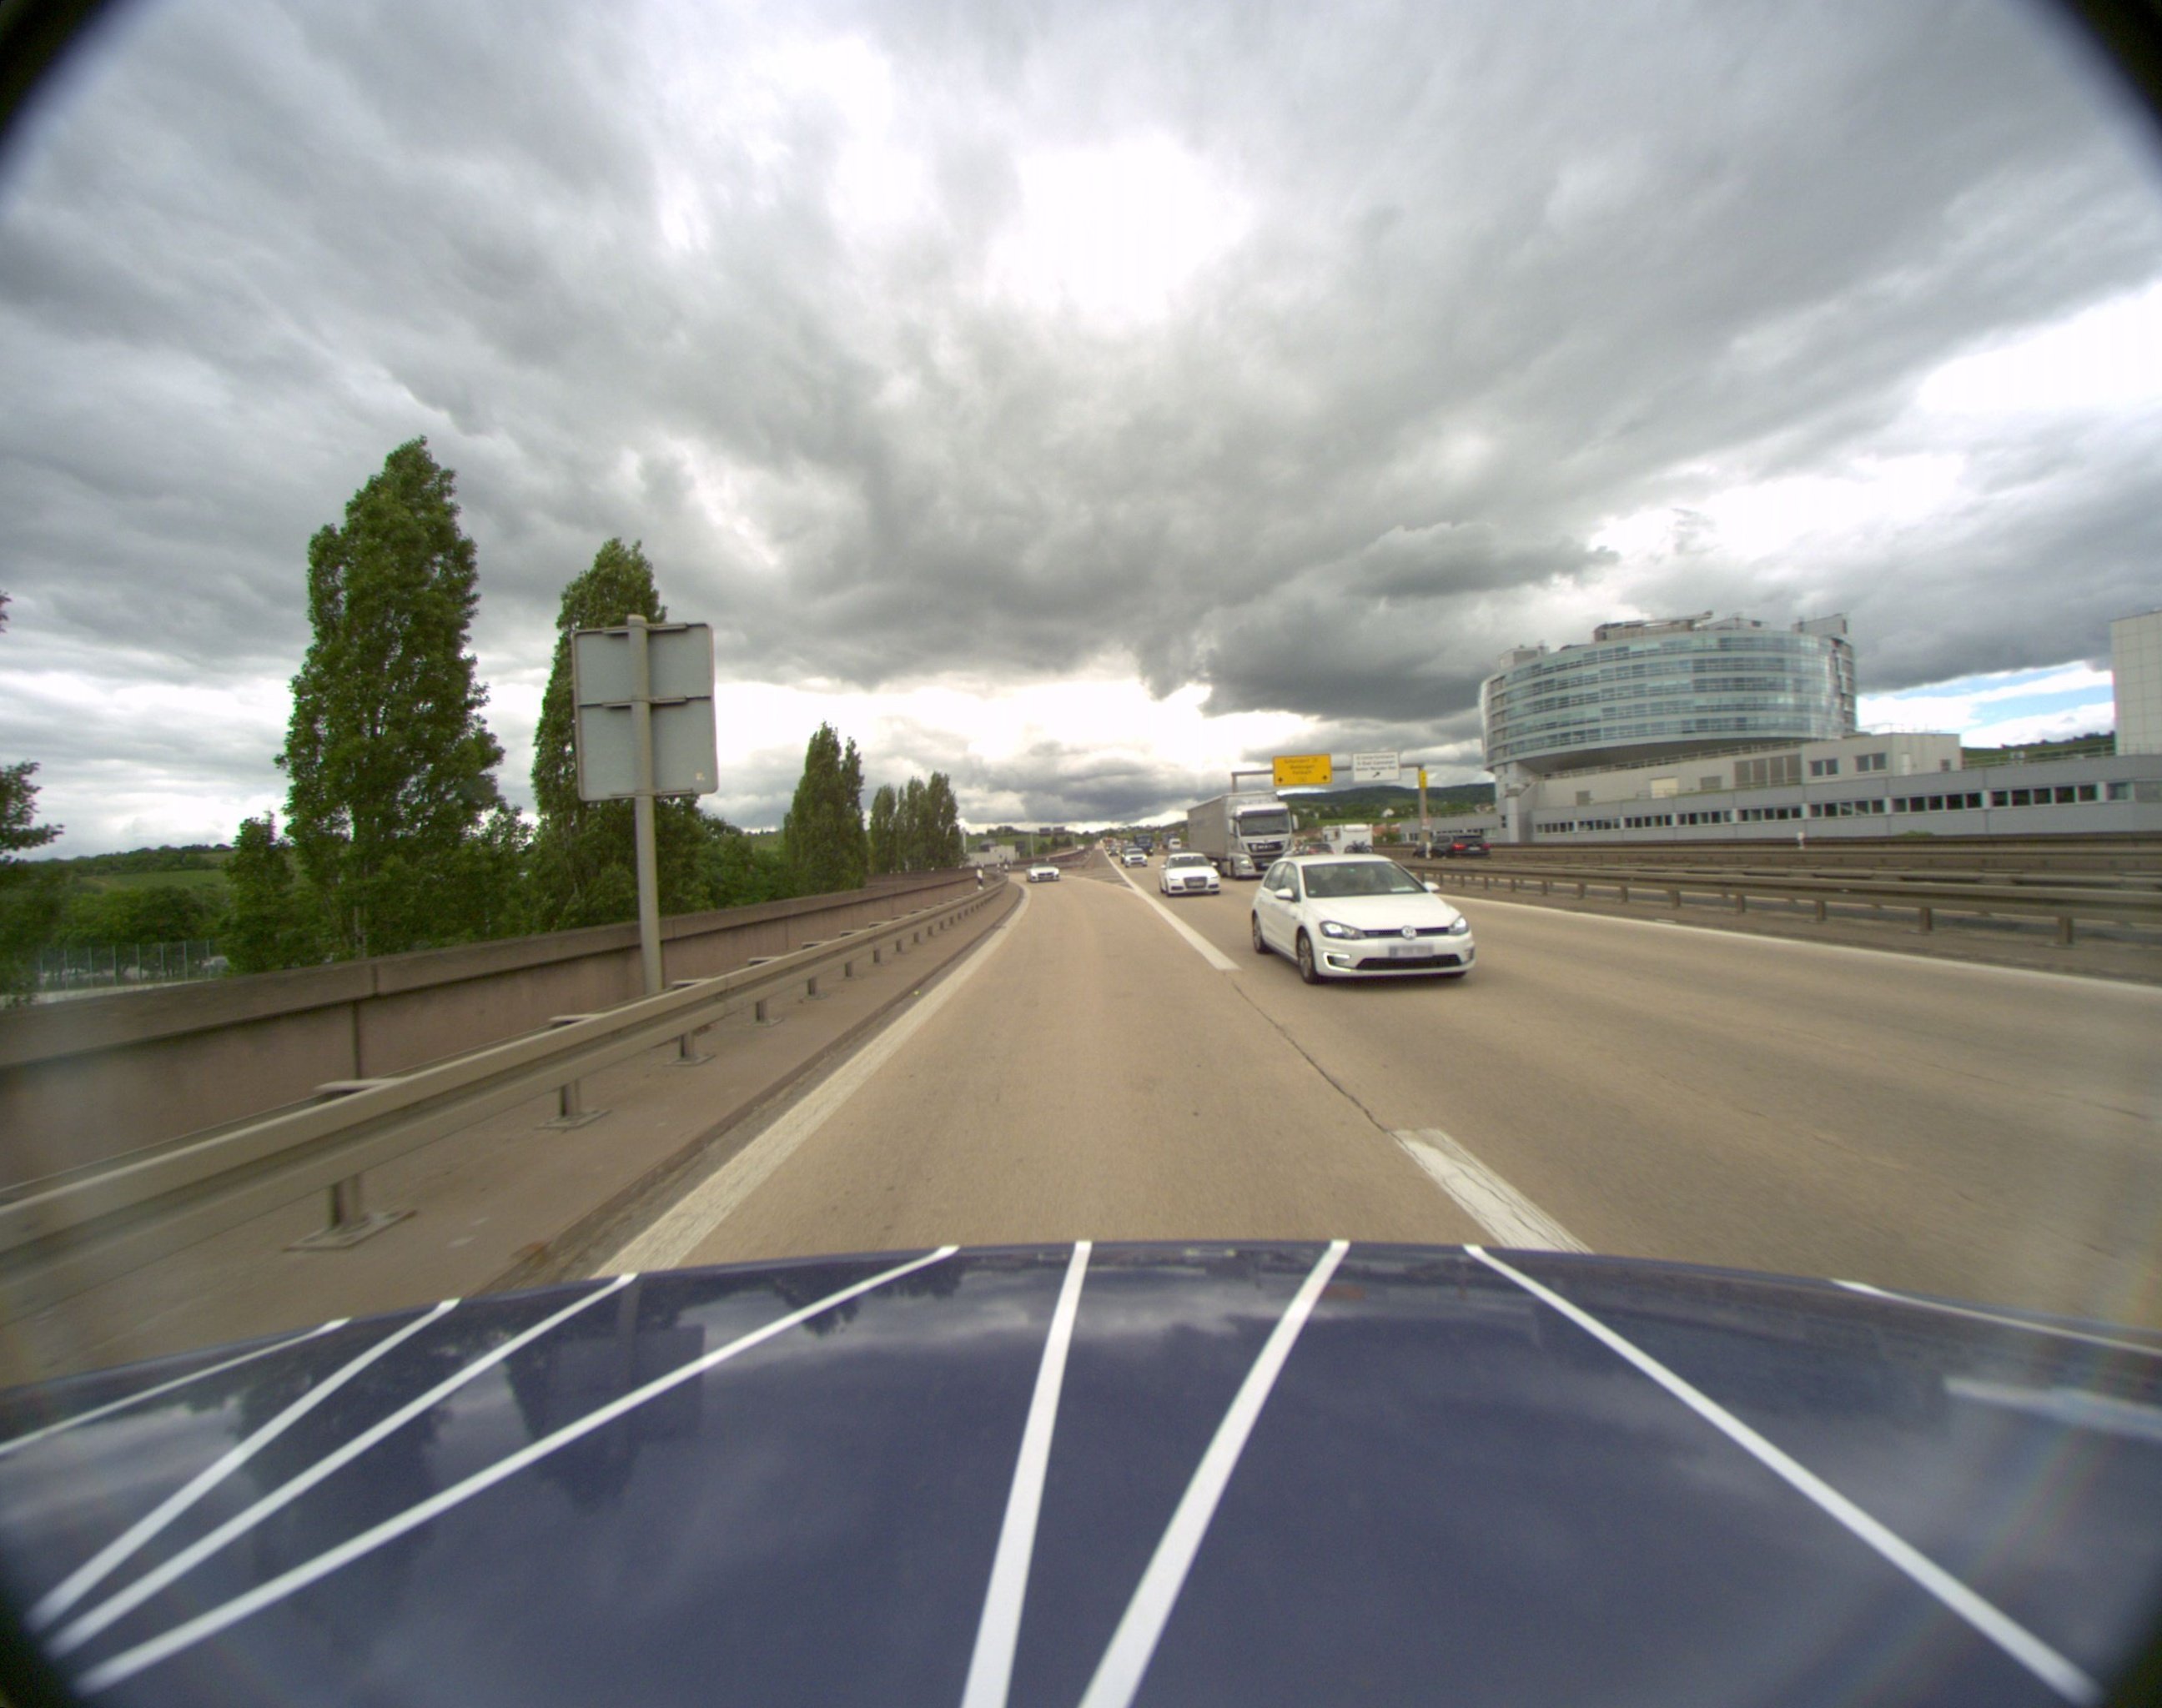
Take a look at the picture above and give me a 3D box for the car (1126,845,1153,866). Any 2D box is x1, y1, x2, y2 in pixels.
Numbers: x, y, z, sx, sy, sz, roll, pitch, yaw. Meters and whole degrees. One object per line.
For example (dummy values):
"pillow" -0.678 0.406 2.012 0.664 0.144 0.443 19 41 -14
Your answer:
"car" 5.151 0.098 67.265 1.998 1.672 4.000 -4 0 0

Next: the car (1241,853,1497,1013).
"car" 3.322 0.799 9.647 1.713 1.488 4.000 -4 0 1

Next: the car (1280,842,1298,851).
"car" 29.663 -1.030 108.478 1.646 1.228 4.282 -1 0 3

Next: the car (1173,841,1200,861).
"car" 9.187 -0.276 66.242 1.787 1.509 4.000 -5 0 2

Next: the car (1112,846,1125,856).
"car" 6.725 -0.564 137.327 1.997 1.672 4.002 -4 0 7

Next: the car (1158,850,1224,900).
"car" 3.799 0.677 26.774 1.787 1.509 4.000 -4 0 2

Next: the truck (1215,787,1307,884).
"truck" 8.111 -0.829 34.818 2.863 3.988 4.791 -4 1 1

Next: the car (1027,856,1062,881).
"car" -2.465 0.938 50.344 1.863 1.337 4.821 -5 2 -7

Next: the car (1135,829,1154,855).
"car" 9.627 -1.739 114.954 2.363 3.639 4.799 -5 0 2

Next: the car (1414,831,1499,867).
"car" 18.679 -0.234 38.076 1.998 1.626 4.631 -1 0 1

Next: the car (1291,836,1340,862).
"car" 15.543 -0.329 50.655 1.998 1.626 4.454 -1 0 1

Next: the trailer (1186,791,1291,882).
"trailer" 8.194 -0.946 41.854 2.863 3.988 13.971 -4 1 1

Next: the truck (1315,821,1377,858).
"truck" 19.950 -1.044 57.721 2.496 2.611 7.349 -1 0 3
